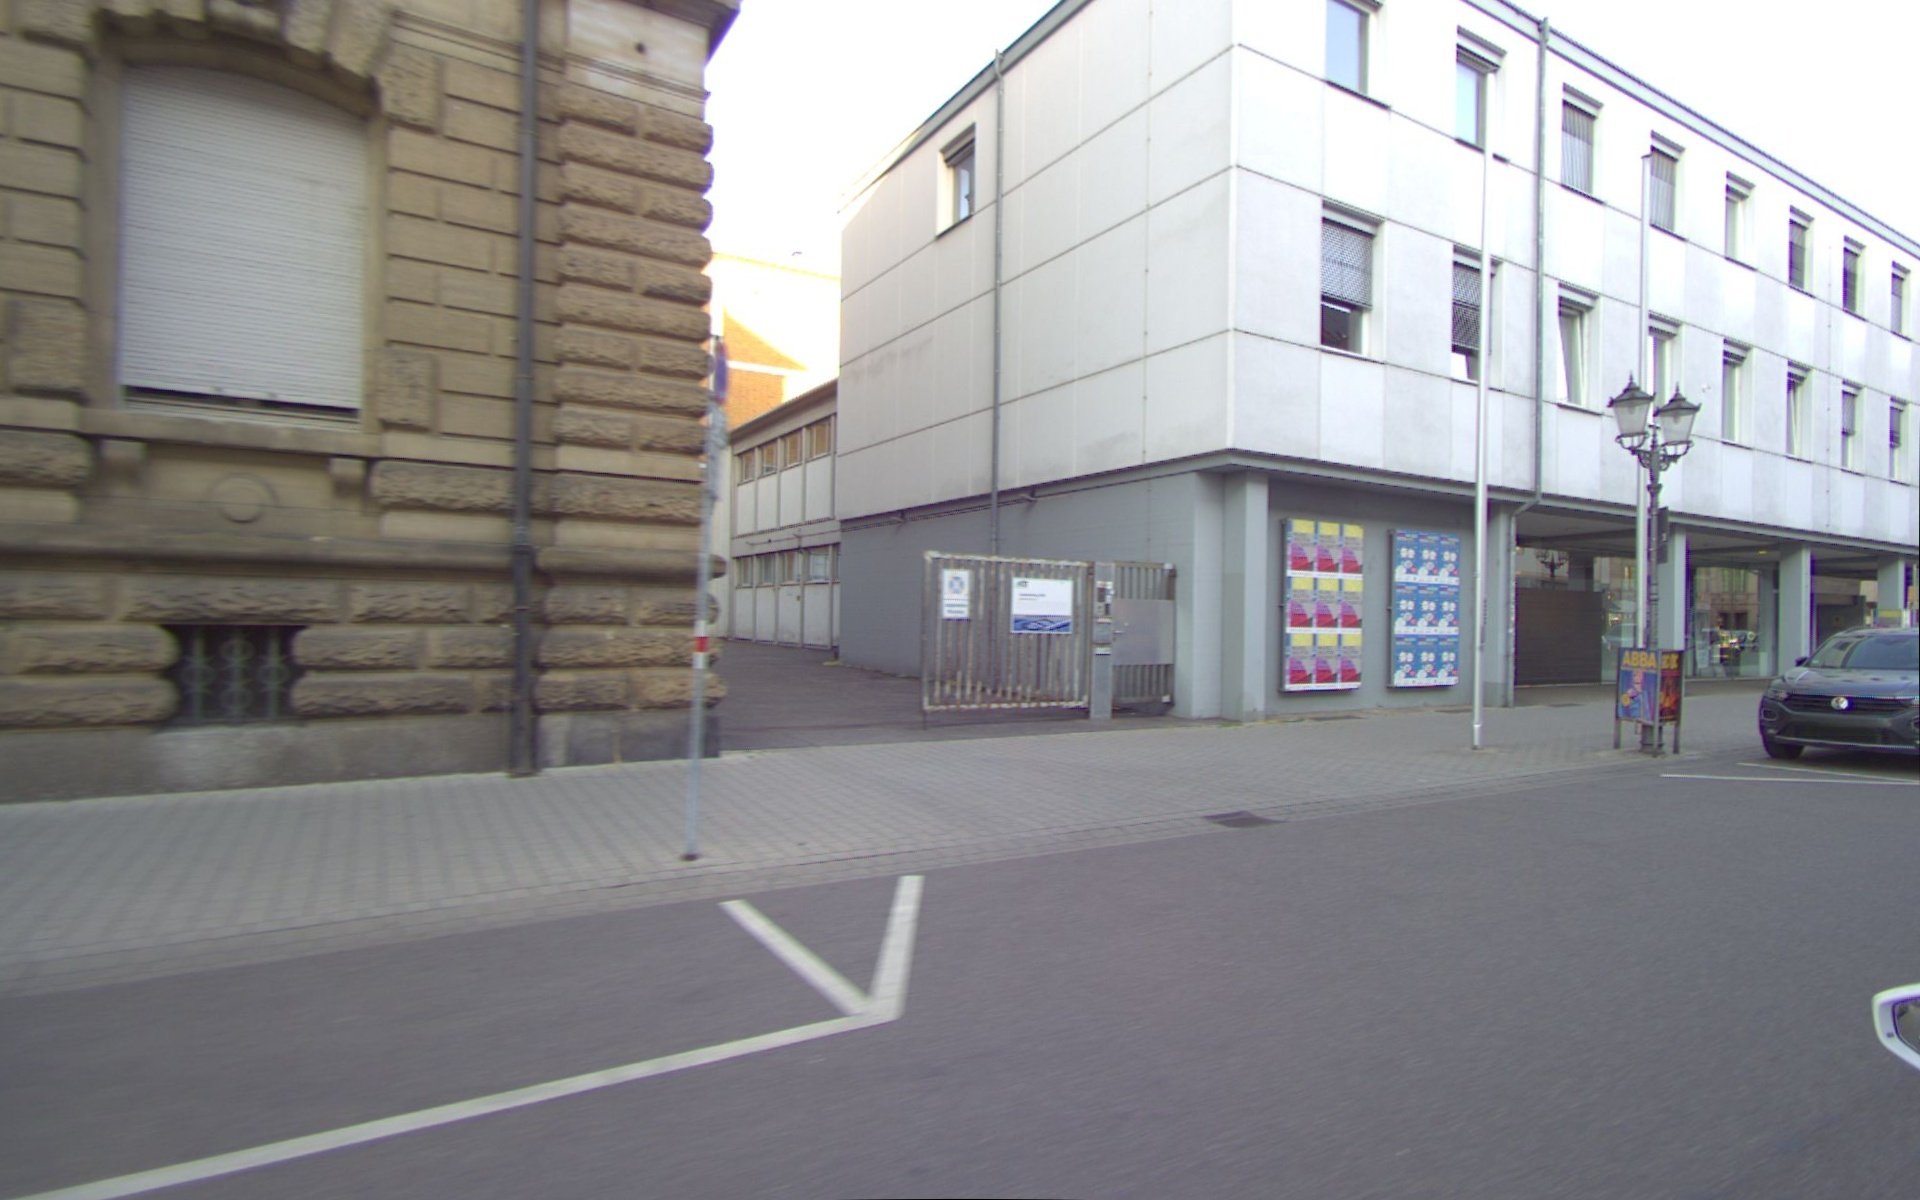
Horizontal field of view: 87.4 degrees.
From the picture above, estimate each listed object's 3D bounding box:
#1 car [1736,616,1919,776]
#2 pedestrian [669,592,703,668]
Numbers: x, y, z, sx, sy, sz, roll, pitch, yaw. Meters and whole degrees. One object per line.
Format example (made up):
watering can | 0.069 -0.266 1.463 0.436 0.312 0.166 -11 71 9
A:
car | 11.233 1.033 11.950 4.117 1.636 1.776 1 -1 -30
pedestrian | -6.710 0.741 24.593 0.765 1.829 0.700 1 -1 -16
